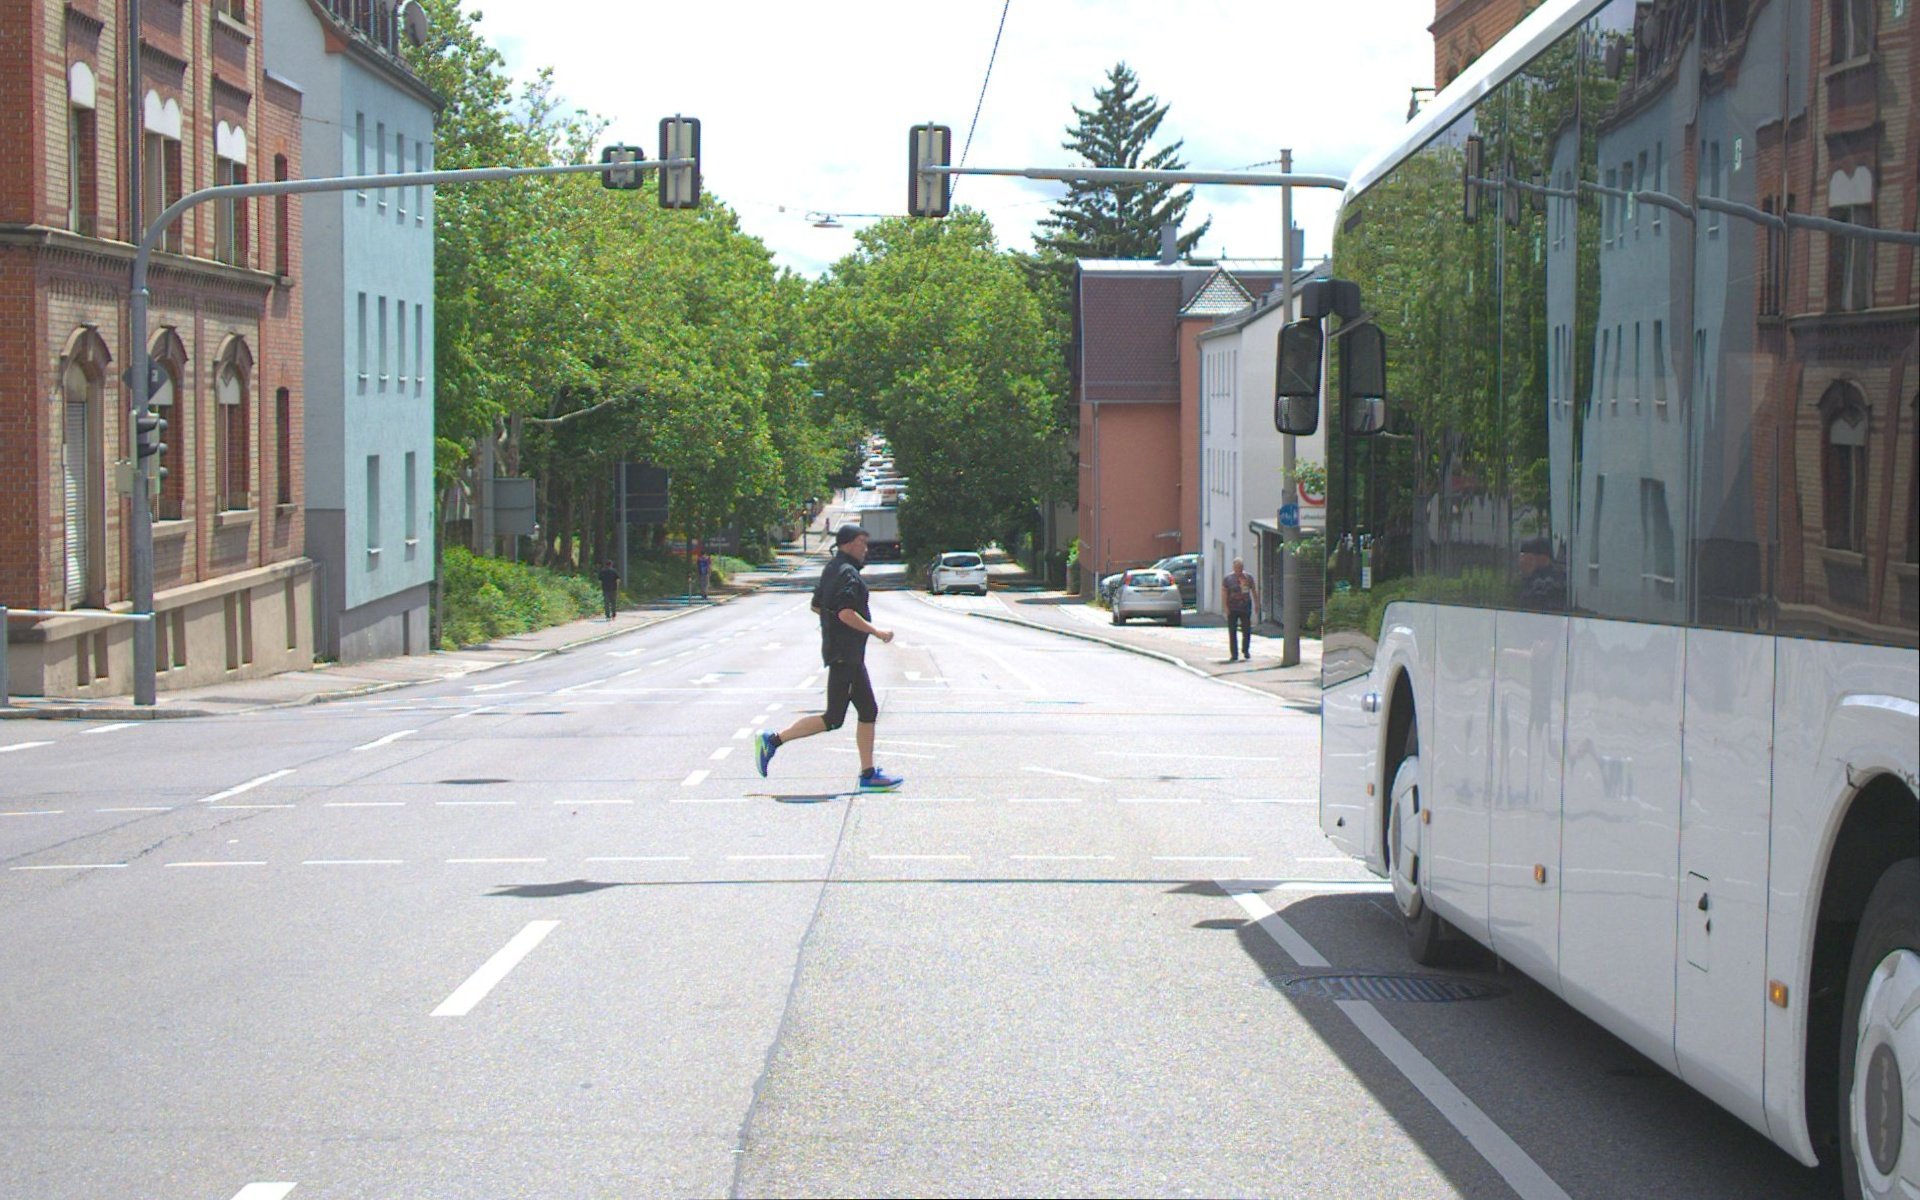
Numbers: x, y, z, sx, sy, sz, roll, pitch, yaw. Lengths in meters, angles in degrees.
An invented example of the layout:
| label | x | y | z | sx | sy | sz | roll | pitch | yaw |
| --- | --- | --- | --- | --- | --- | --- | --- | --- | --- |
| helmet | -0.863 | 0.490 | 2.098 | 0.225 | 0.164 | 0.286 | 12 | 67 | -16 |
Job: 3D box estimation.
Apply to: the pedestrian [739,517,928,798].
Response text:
| label | x | y | z | sx | sy | sz | roll | pitch | yaw |
| --- | --- | --- | --- | --- | --- | --- | --- | --- | --- |
| pedestrian | -0.804 | 0.349 | 21.642 | 1.140 | 1.728 | 0.759 | 0 | 1 | -5 |

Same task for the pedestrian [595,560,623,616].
| label | x | y | z | sx | sy | sz | roll | pitch | yaw |
| --- | --- | --- | --- | --- | --- | --- | --- | --- | --- |
| pedestrian | -9.756 | -0.340 | 95.497 | 0.729 | 1.560 | 0.561 | 0 | 1 | -1 |

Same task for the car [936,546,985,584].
| label | x | y | z | sx | sy | sz | roll | pitch | yaw |
| --- | --- | --- | --- | --- | --- | --- | --- | --- | --- |
| car | -0.012 | -1.318 | 129.403 | 1.794 | 1.405 | 4.000 | 1 | 1 | 0 |

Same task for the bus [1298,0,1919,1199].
| label | x | y | z | sx | sy | sz | roll | pitch | yaw |
| --- | --- | --- | --- | --- | --- | --- | --- | --- | --- |
| bus | 2.914 | -0.229 | 9.219 | 2.672 | 3.145 | 12.462 | 0 | 1 | 0 |

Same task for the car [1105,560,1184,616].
| label | x | y | z | sx | sy | sz | roll | pitch | yaw |
| --- | --- | --- | --- | --- | --- | --- | --- | --- | --- |
| car | 4.982 | -0.341 | 93.069 | 1.794 | 1.405 | 4.001 | -1 | 1 | -2 |

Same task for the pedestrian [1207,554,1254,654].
| label | x | y | z | sx | sy | sz | roll | pitch | yaw |
| --- | --- | --- | --- | --- | --- | --- | --- | --- | --- |
| pedestrian | 4.755 | 0.069 | 60.441 | 0.738 | 1.744 | 0.619 | -1 | 1 | -1 |

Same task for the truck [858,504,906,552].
| label | x | y | z | sx | sy | sz | roll | pitch | yaw |
| --- | --- | --- | --- | --- | --- | --- | --- | --- | --- |
| truck | -5.194 | -4.733 | 227.113 | 2.926 | 3.070 | 7.886 | -1 | 1 | -3 |

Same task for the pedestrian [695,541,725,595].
| label | x | y | z | sx | sy | sz | roll | pitch | yaw |
| --- | --- | --- | --- | --- | --- | --- | --- | --- | --- |
| pedestrian | -9.269 | -1.193 | 127.465 | 0.995 | 2.007 | 1.189 | -1 | 1 | -1 |

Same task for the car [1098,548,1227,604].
| label | x | y | z | sx | sy | sz | roll | pitch | yaw |
| --- | --- | --- | --- | --- | --- | --- | --- | --- | --- |
| car | 6.657 | -0.793 | 113.168 | 3.986 | 1.751 | 2.000 | -1 | 1 | -5 |

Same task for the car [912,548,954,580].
| label | x | y | z | sx | sy | sz | roll | pitch | yaw |
| --- | --- | --- | --- | --- | --- | --- | --- | --- | --- |
| car | -1.190 | -1.603 | 153.931 | 1.794 | 1.405 | 4.419 | 1 | 1 | 0 |

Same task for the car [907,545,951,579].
| label | x | y | z | sx | sy | sz | roll | pitch | yaw |
| --- | --- | --- | --- | --- | --- | --- | --- | --- | --- |
| car | -1.289 | -1.598 | 145.824 | 1.794 | 1.405 | 4.419 | 1 | 1 | 0 |
